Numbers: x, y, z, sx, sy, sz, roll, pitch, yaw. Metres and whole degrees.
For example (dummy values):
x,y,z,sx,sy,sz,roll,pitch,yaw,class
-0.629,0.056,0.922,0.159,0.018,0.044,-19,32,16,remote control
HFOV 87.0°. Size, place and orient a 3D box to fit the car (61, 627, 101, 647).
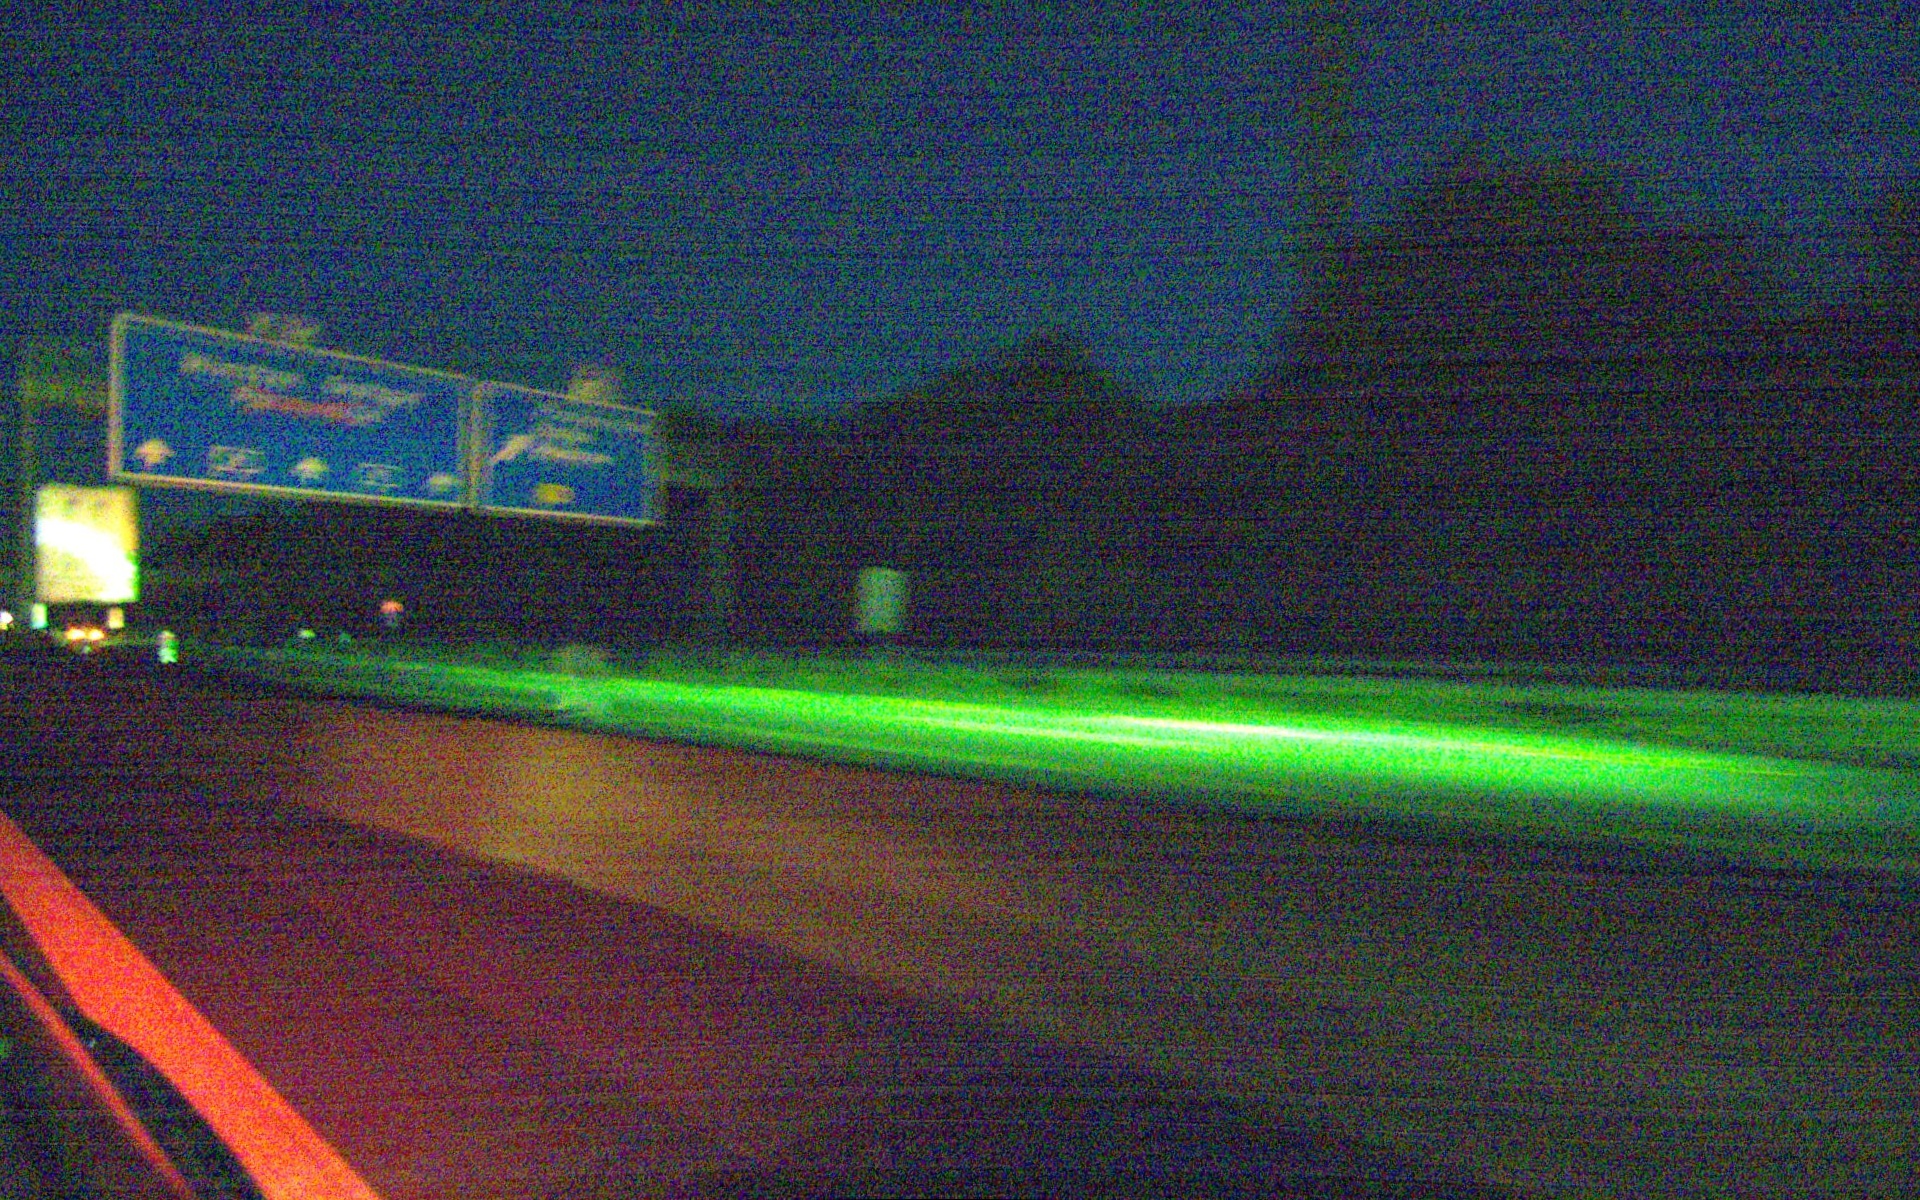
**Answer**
x,y,z,sx,sy,sz,roll,pitch,yaw,class
-72.218,3.006,83.151,4.556,1.477,1.802,-1,0,40,car
